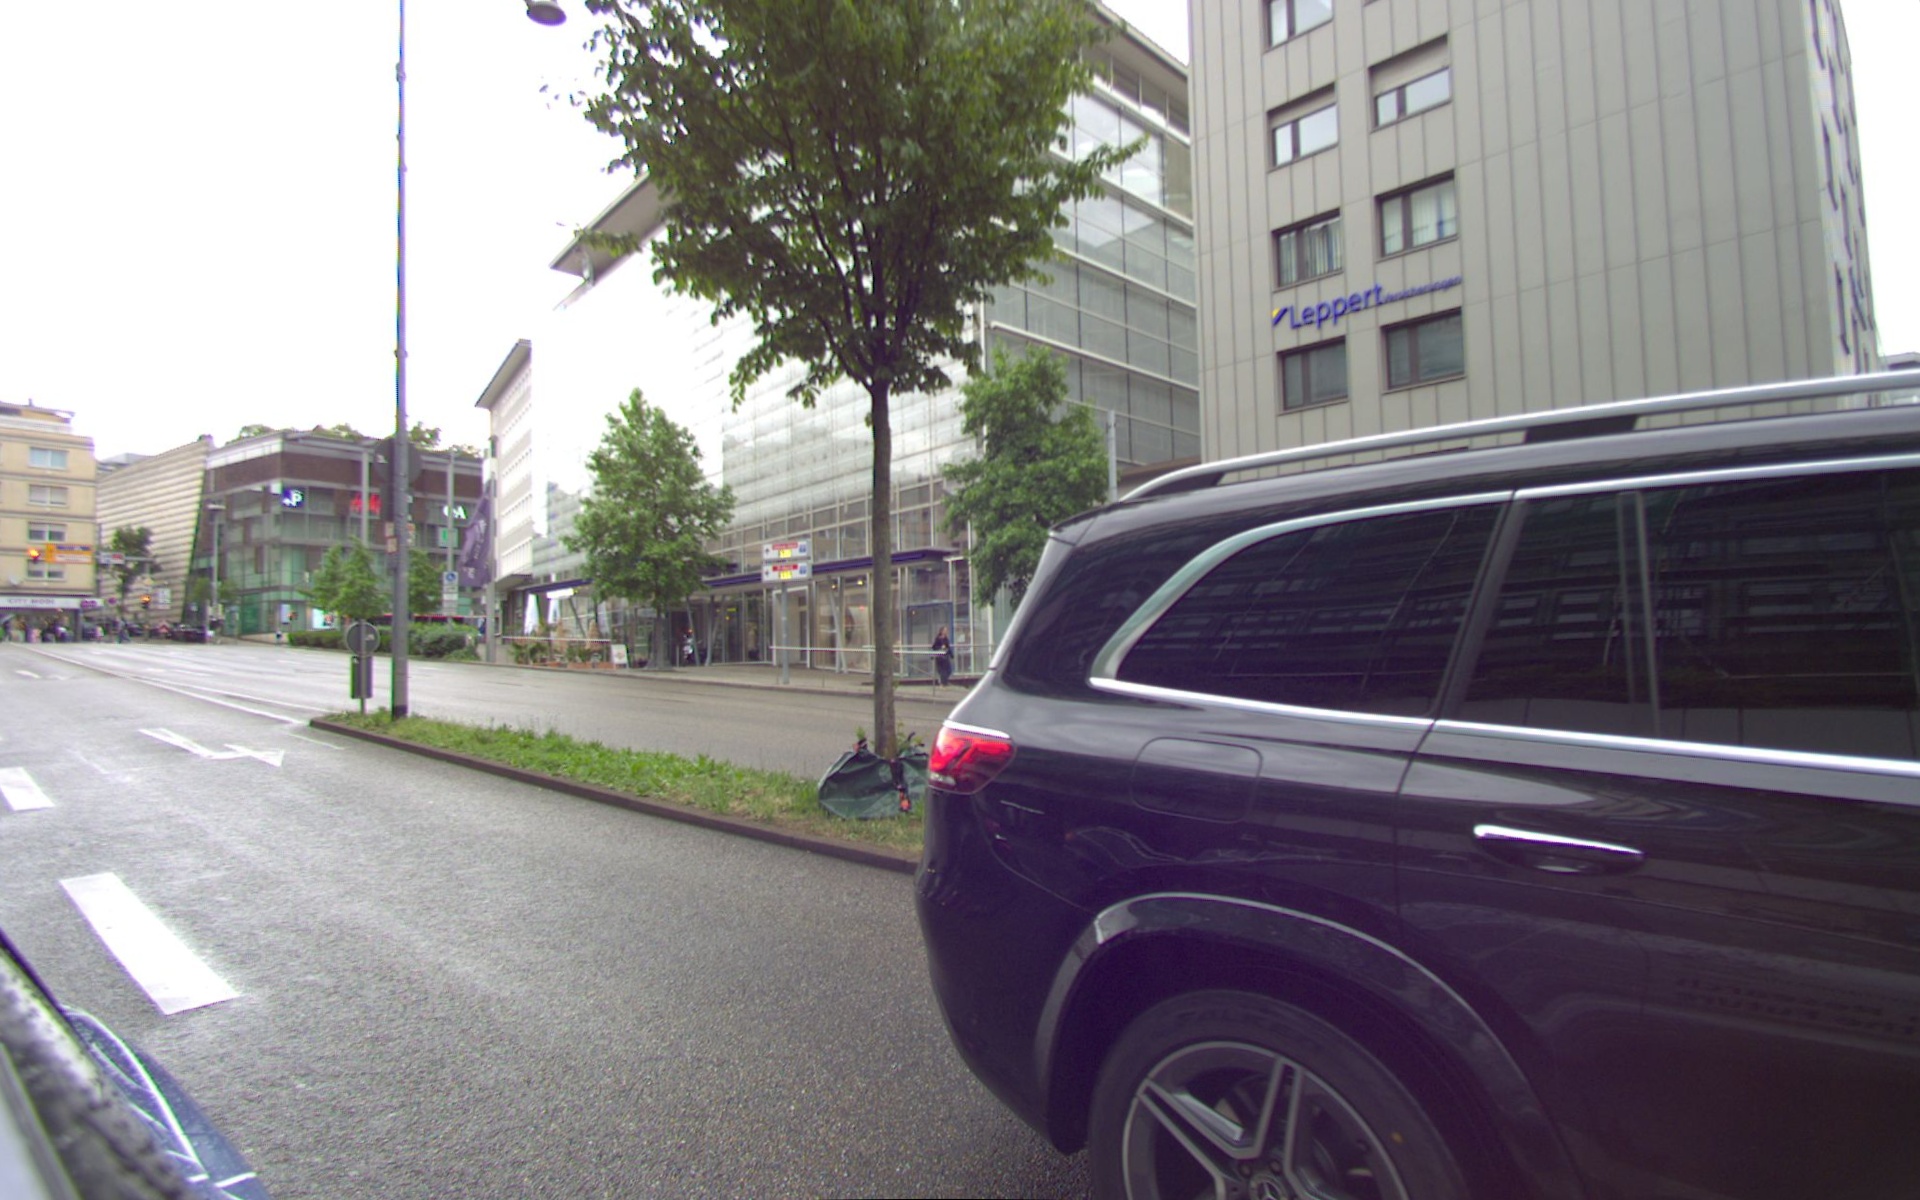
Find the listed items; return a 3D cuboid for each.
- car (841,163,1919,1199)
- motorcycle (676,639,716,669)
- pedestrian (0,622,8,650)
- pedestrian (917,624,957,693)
[{"bbox_3d":[2.219,0.429,1.456,5.072,1.884,1.891,0,0,42],"label":"car"},{"bbox_3d":[-12.010,2.463,46.140,0.620,1.336,1.685,-1,-3,41],"label":"motorcycle"},{"bbox_3d":[-60.913,2.283,64.314,0.618,1.788,0.689,0,0,-45],"label":"pedestrian"},{"bbox_3d":[-0.572,1.438,25.240,0.626,1.649,0.791,0,0,-41],"label":"pedestrian"}]
